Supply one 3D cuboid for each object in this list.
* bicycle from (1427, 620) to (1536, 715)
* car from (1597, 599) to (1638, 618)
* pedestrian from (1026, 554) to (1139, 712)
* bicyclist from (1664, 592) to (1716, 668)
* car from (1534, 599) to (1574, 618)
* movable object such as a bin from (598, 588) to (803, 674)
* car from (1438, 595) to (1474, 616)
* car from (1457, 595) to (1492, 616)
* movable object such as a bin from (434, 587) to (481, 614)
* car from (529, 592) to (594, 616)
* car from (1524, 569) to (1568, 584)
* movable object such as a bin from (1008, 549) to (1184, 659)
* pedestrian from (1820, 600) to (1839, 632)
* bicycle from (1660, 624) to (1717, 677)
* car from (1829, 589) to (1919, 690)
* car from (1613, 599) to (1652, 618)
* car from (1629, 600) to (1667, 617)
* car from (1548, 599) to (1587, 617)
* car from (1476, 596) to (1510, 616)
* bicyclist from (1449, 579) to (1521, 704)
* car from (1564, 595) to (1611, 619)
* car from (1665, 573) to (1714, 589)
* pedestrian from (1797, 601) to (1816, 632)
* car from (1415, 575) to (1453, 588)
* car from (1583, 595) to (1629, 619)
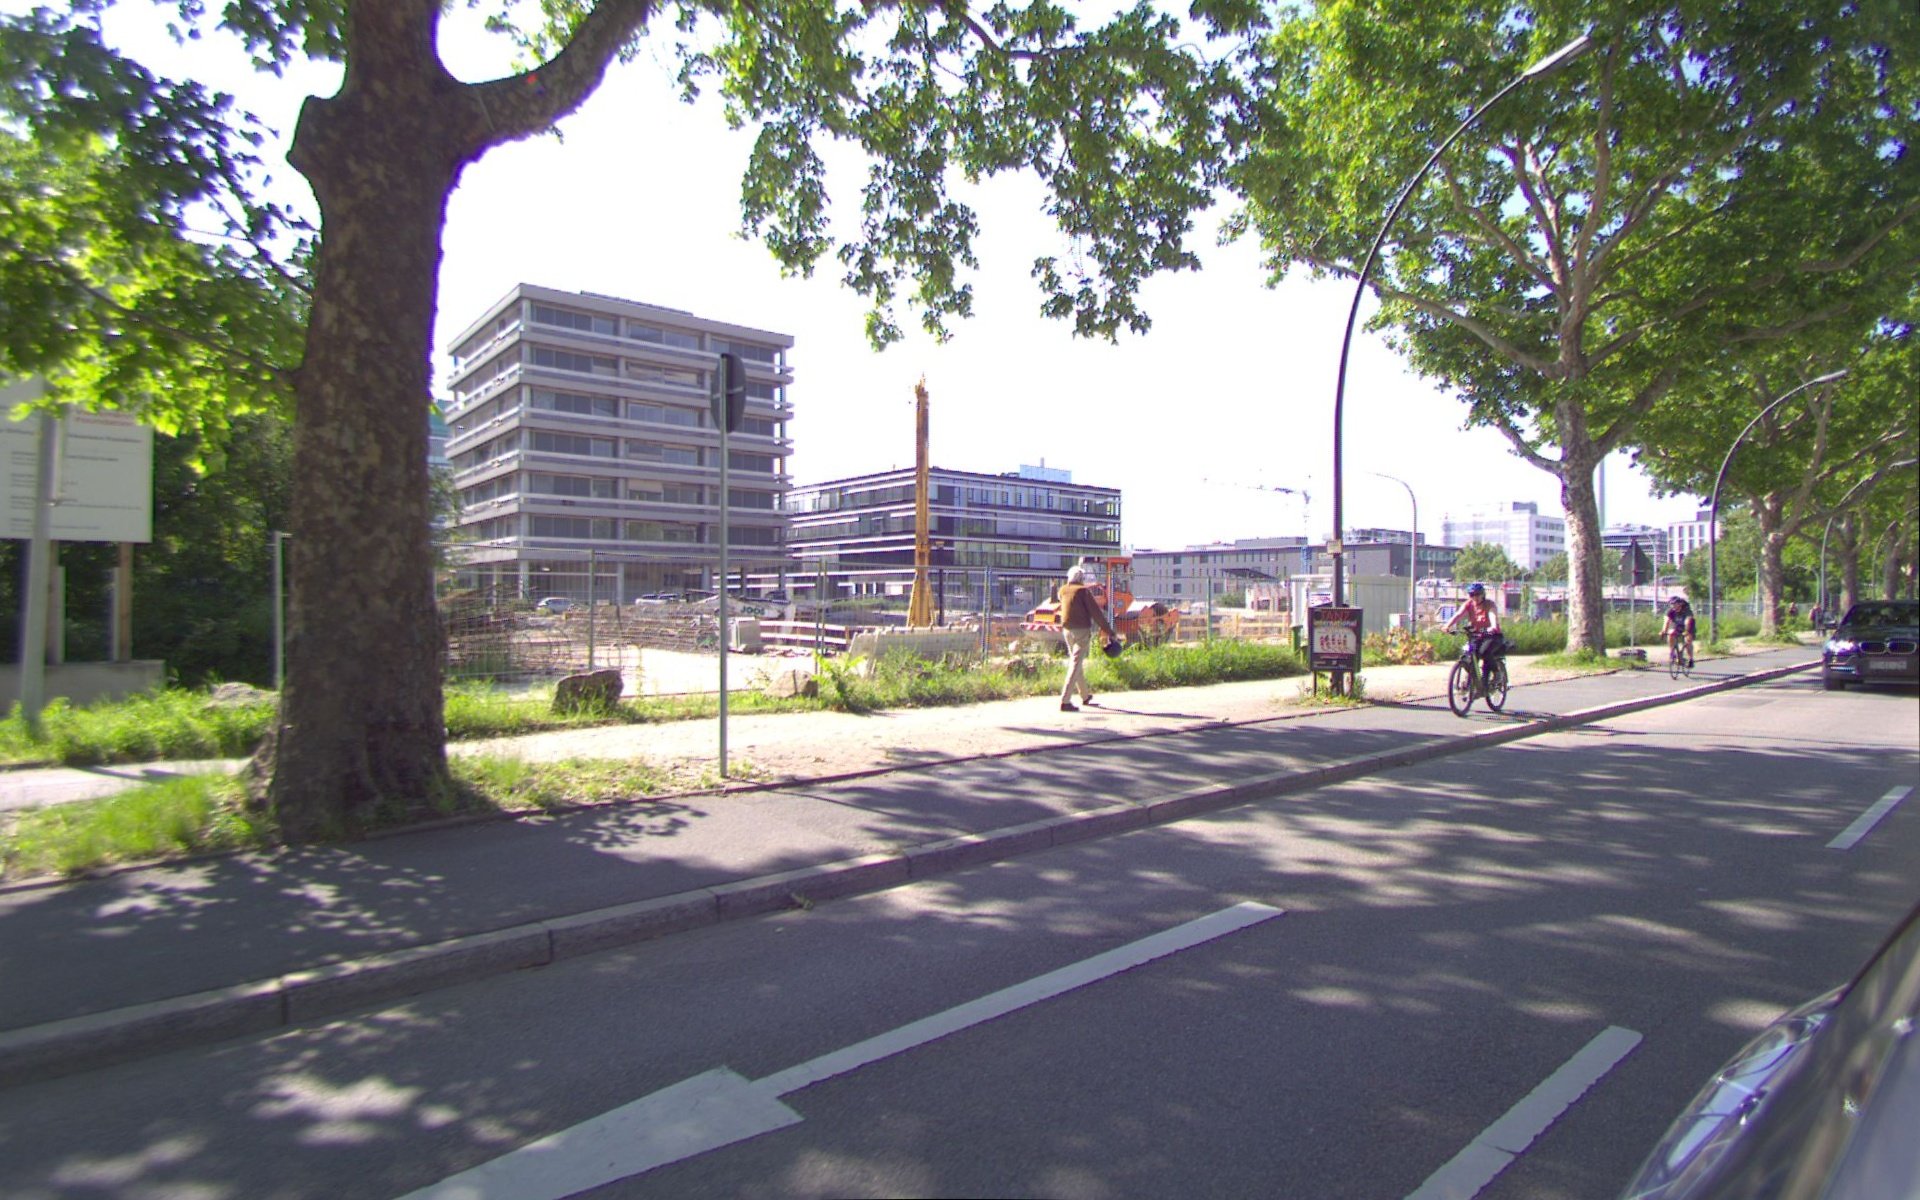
[{"bbox_3d":[7.036,0.867,13.610,1.912,1.143,0.652,0,1,-42],"label":"bicycle"},{"bbox_3d":[81.932,1.066,126.197,1.779,2.352,3.989,1,-1,-44],"label":"car"},{"bbox_3d":[1.580,0.406,13.041,1.131,1.917,0.940,1,-1,-41],"label":"pedestrian"},{"bbox_3d":[15.074,0.603,20.894,1.194,1.508,0.599,1,2,-43],"label":"bicyclist"},{"bbox_3d":[74.168,1.018,126.302,1.779,2.352,3.989,1,-1,-44],"label":"car"},{"bbox_3d":[-16.504,1.932,65.618,11.555,5.242,6.753,0,-1,2],"label":"movable object such as a bin"},{"bbox_3d":[66.084,0.752,134.859,1.779,2.774,3.989,1,-1,-44],"label":"car"},{"bbox_3d":[70.965,0.780,139.554,1.779,2.774,3.989,1,-1,-44],"label":"car"},{"bbox_3d":[-39.080,0.034,78.742,2.623,2.039,2.754,1,0,-43],"label":"movable object such as a bin"},{"bbox_3d":[-30.822,0.332,78.419,4.356,1.794,1.795,0,0,-40],"label":"car"},{"bbox_3d":[66.537,-2.630,114.979,1.779,1.529,3.989,1,-1,-44],"label":"car"},{"bbox_3d":[4.338,0.147,31.563,5.887,3.111,2.370,1,-1,-45],"label":"movable object such as a bin"},{"bbox_3d":[47.789,0.870,55.620,1.048,1.746,0.710,1,-1,-43],"label":"pedestrian"},{"bbox_3d":[15.022,1.023,20.862,1.751,0.992,0.598,1,2,-43],"label":"bicycle"},{"bbox_3d":[18.160,0.702,19.250,4.080,1.752,1.922,0,-1,-42],"label":"car"},{"bbox_3d":[87.540,1.099,131.781,1.779,2.352,3.989,1,-1,-44],"label":"car"},{"bbox_3d":[92.629,1.129,136.252,1.779,2.352,3.989,1,-1,-44],"label":"car"},{"bbox_3d":[78.120,1.041,130.071,1.779,2.352,3.989,1,-1,-44],"label":"car"},{"bbox_3d":[75.910,0.809,144.243,1.779,2.774,3.989,1,-1,-44],"label":"car"},{"bbox_3d":[7.084,0.542,13.656,0.720,1.620,0.620,1,1,-43],"label":"bicyclist"},{"bbox_3d":[72.852,0.821,117.497,1.779,2.774,4.366,1,-1,-44],"label":"car"},{"bbox_3d":[77.123,-2.011,107.045,1.779,1.529,3.989,1,-1,-44],"label":"car"},{"bbox_3d":[47.251,0.910,56.506,0.943,1.705,0.696,1,-1,-43],"label":"pedestrian"},{"bbox_3d":[59.326,-2.261,126.644,1.779,1.529,3.989,1,-1,-44],"label":"car"},{"bbox_3d":[77.972,0.851,122.141,1.779,2.774,4.366,1,-1,-44],"label":"car"}]
